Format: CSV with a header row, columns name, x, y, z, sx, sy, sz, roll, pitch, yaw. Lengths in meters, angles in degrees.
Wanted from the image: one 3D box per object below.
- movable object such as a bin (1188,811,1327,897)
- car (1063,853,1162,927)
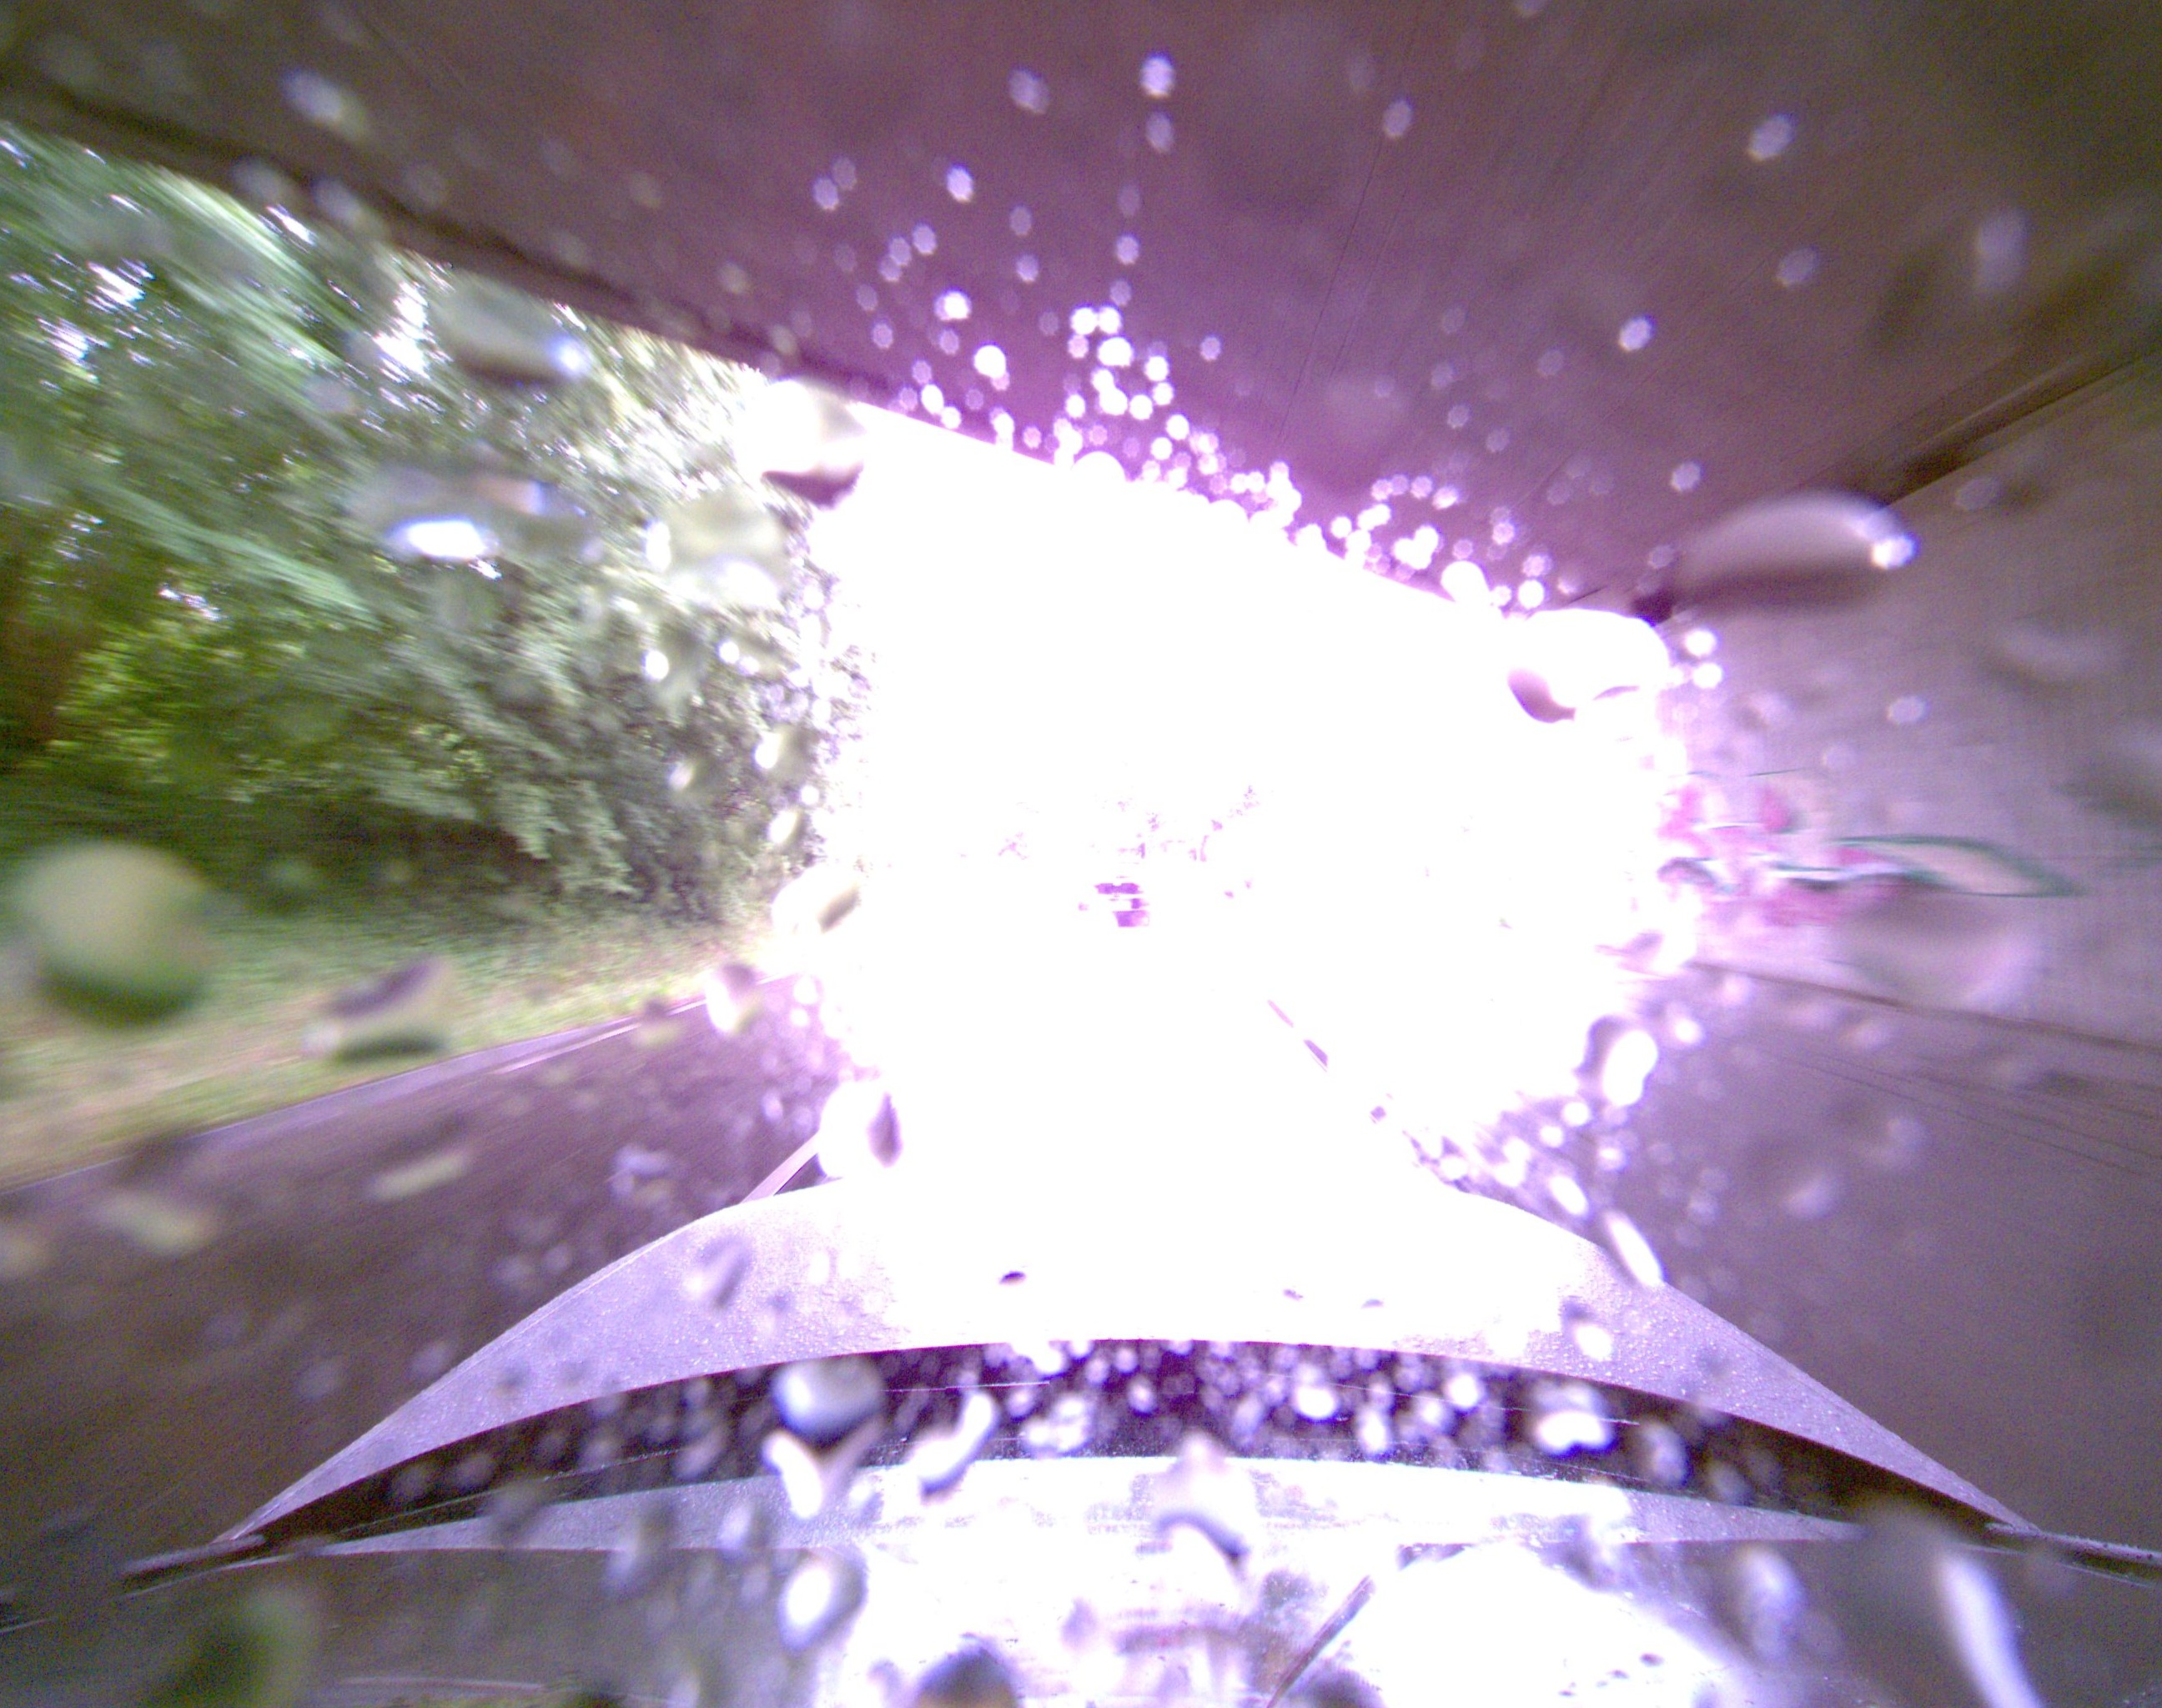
name,x,y,z,sx,sy,sz,roll,pitch,yaw
movable object such as a bin,6.367,0.009,28.588,2.224,2.669,6.668,-1,-1,36
car,0.592,0.748,18.505,1.988,1.487,3.997,0,0,-2
